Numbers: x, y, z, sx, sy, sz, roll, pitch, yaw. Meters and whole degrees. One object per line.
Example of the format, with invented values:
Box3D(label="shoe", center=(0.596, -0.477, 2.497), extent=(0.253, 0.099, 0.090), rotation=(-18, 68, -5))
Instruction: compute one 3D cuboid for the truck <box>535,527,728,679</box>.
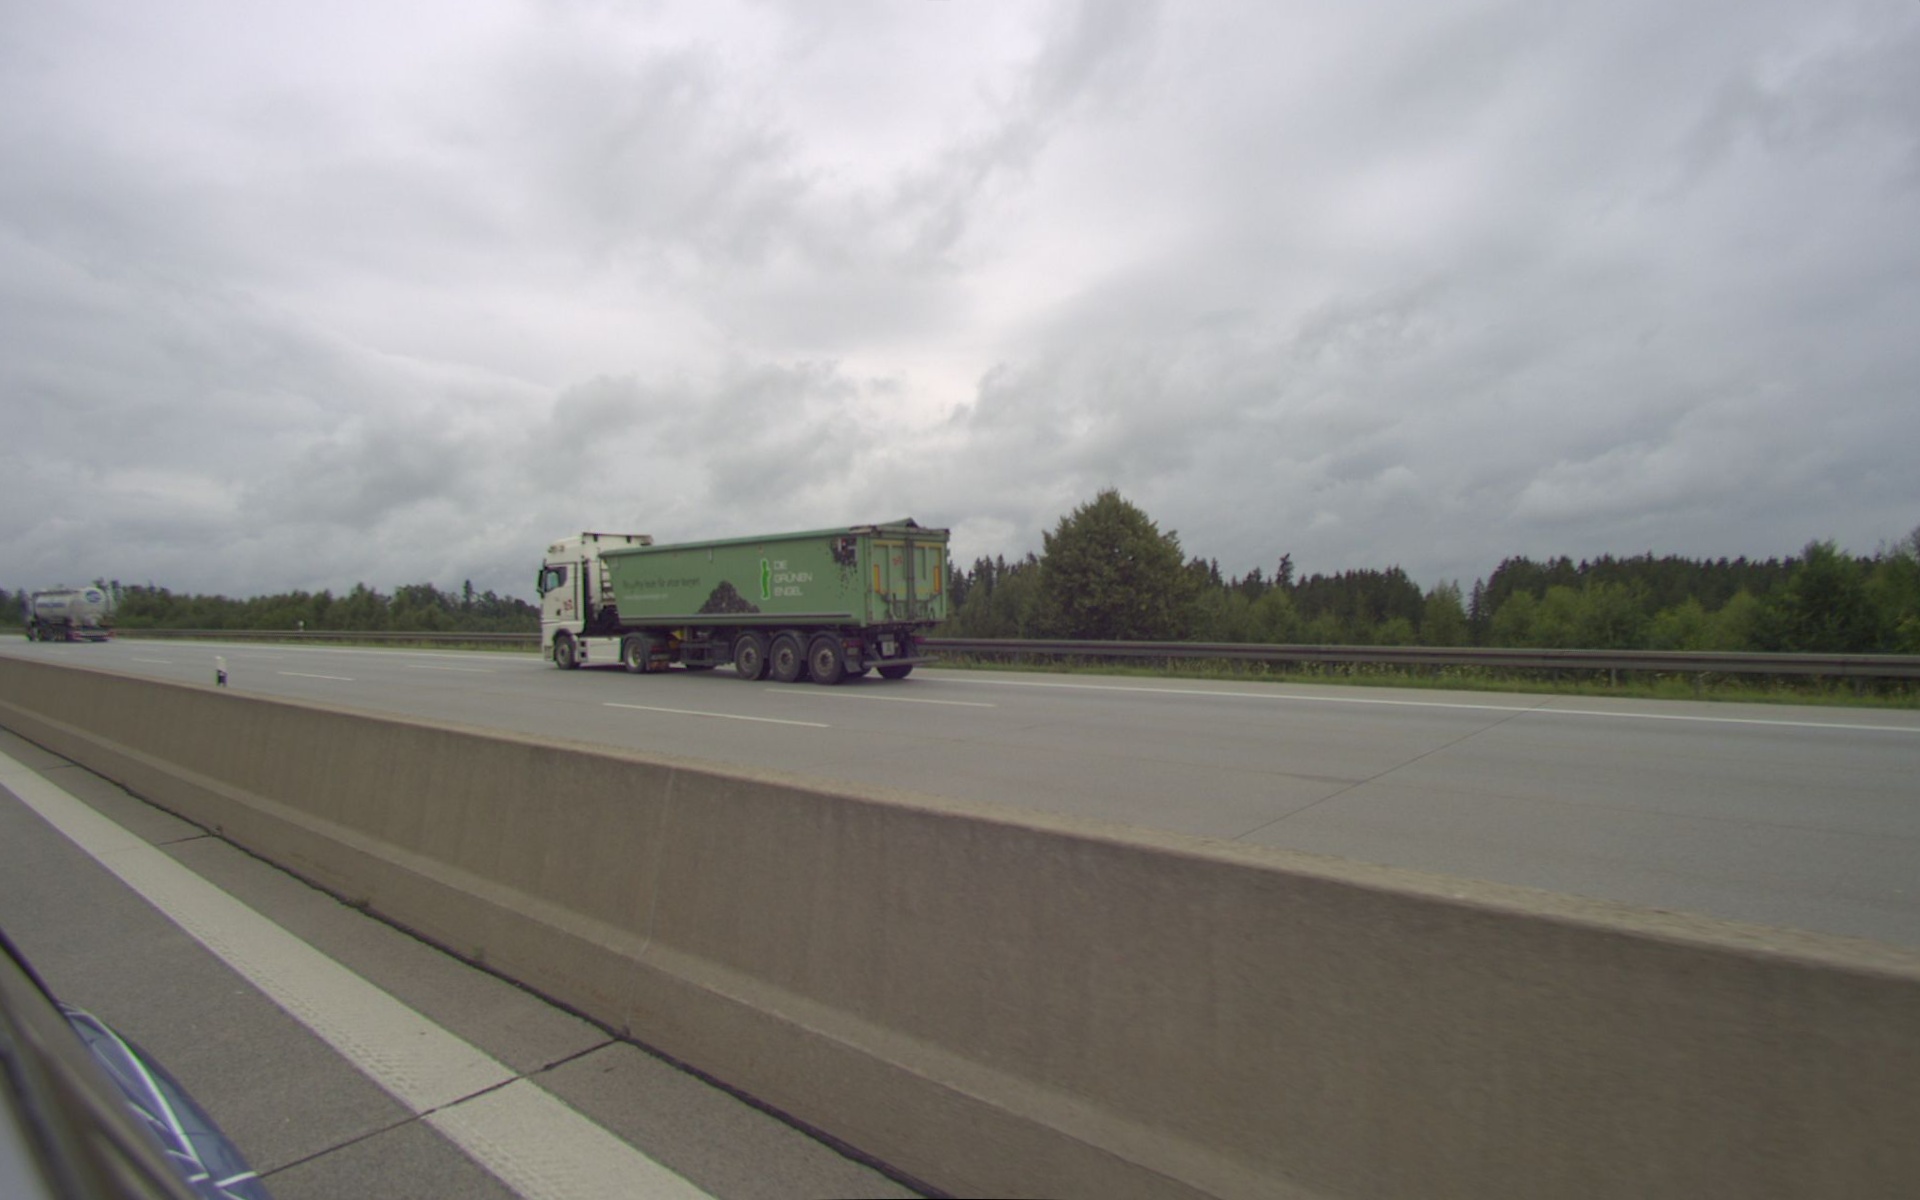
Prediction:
Box3D(label="truck", center=(-9.294, 0.090, 28.411), extent=(5.527, 3.831, 2.722), rotation=(-1, 0, 41))

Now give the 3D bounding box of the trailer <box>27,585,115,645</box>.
Box3D(label="trailer", center=(-64.484, 1.172, 73.271), extent=(12.275, 4.029, 2.731), rotation=(-2, -1, 39))

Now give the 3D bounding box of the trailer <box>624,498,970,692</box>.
Box3D(label="trailer", center=(-4.207, -0.012, 24.046), extent=(9.309, 3.829, 2.721), rotation=(-1, -1, 40))

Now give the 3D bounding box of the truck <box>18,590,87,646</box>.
Box3D(label="truck", center=(-69.136, 1.395, 77.060), extent=(6.920, 4.029, 2.720), rotation=(-3, -2, 38))
